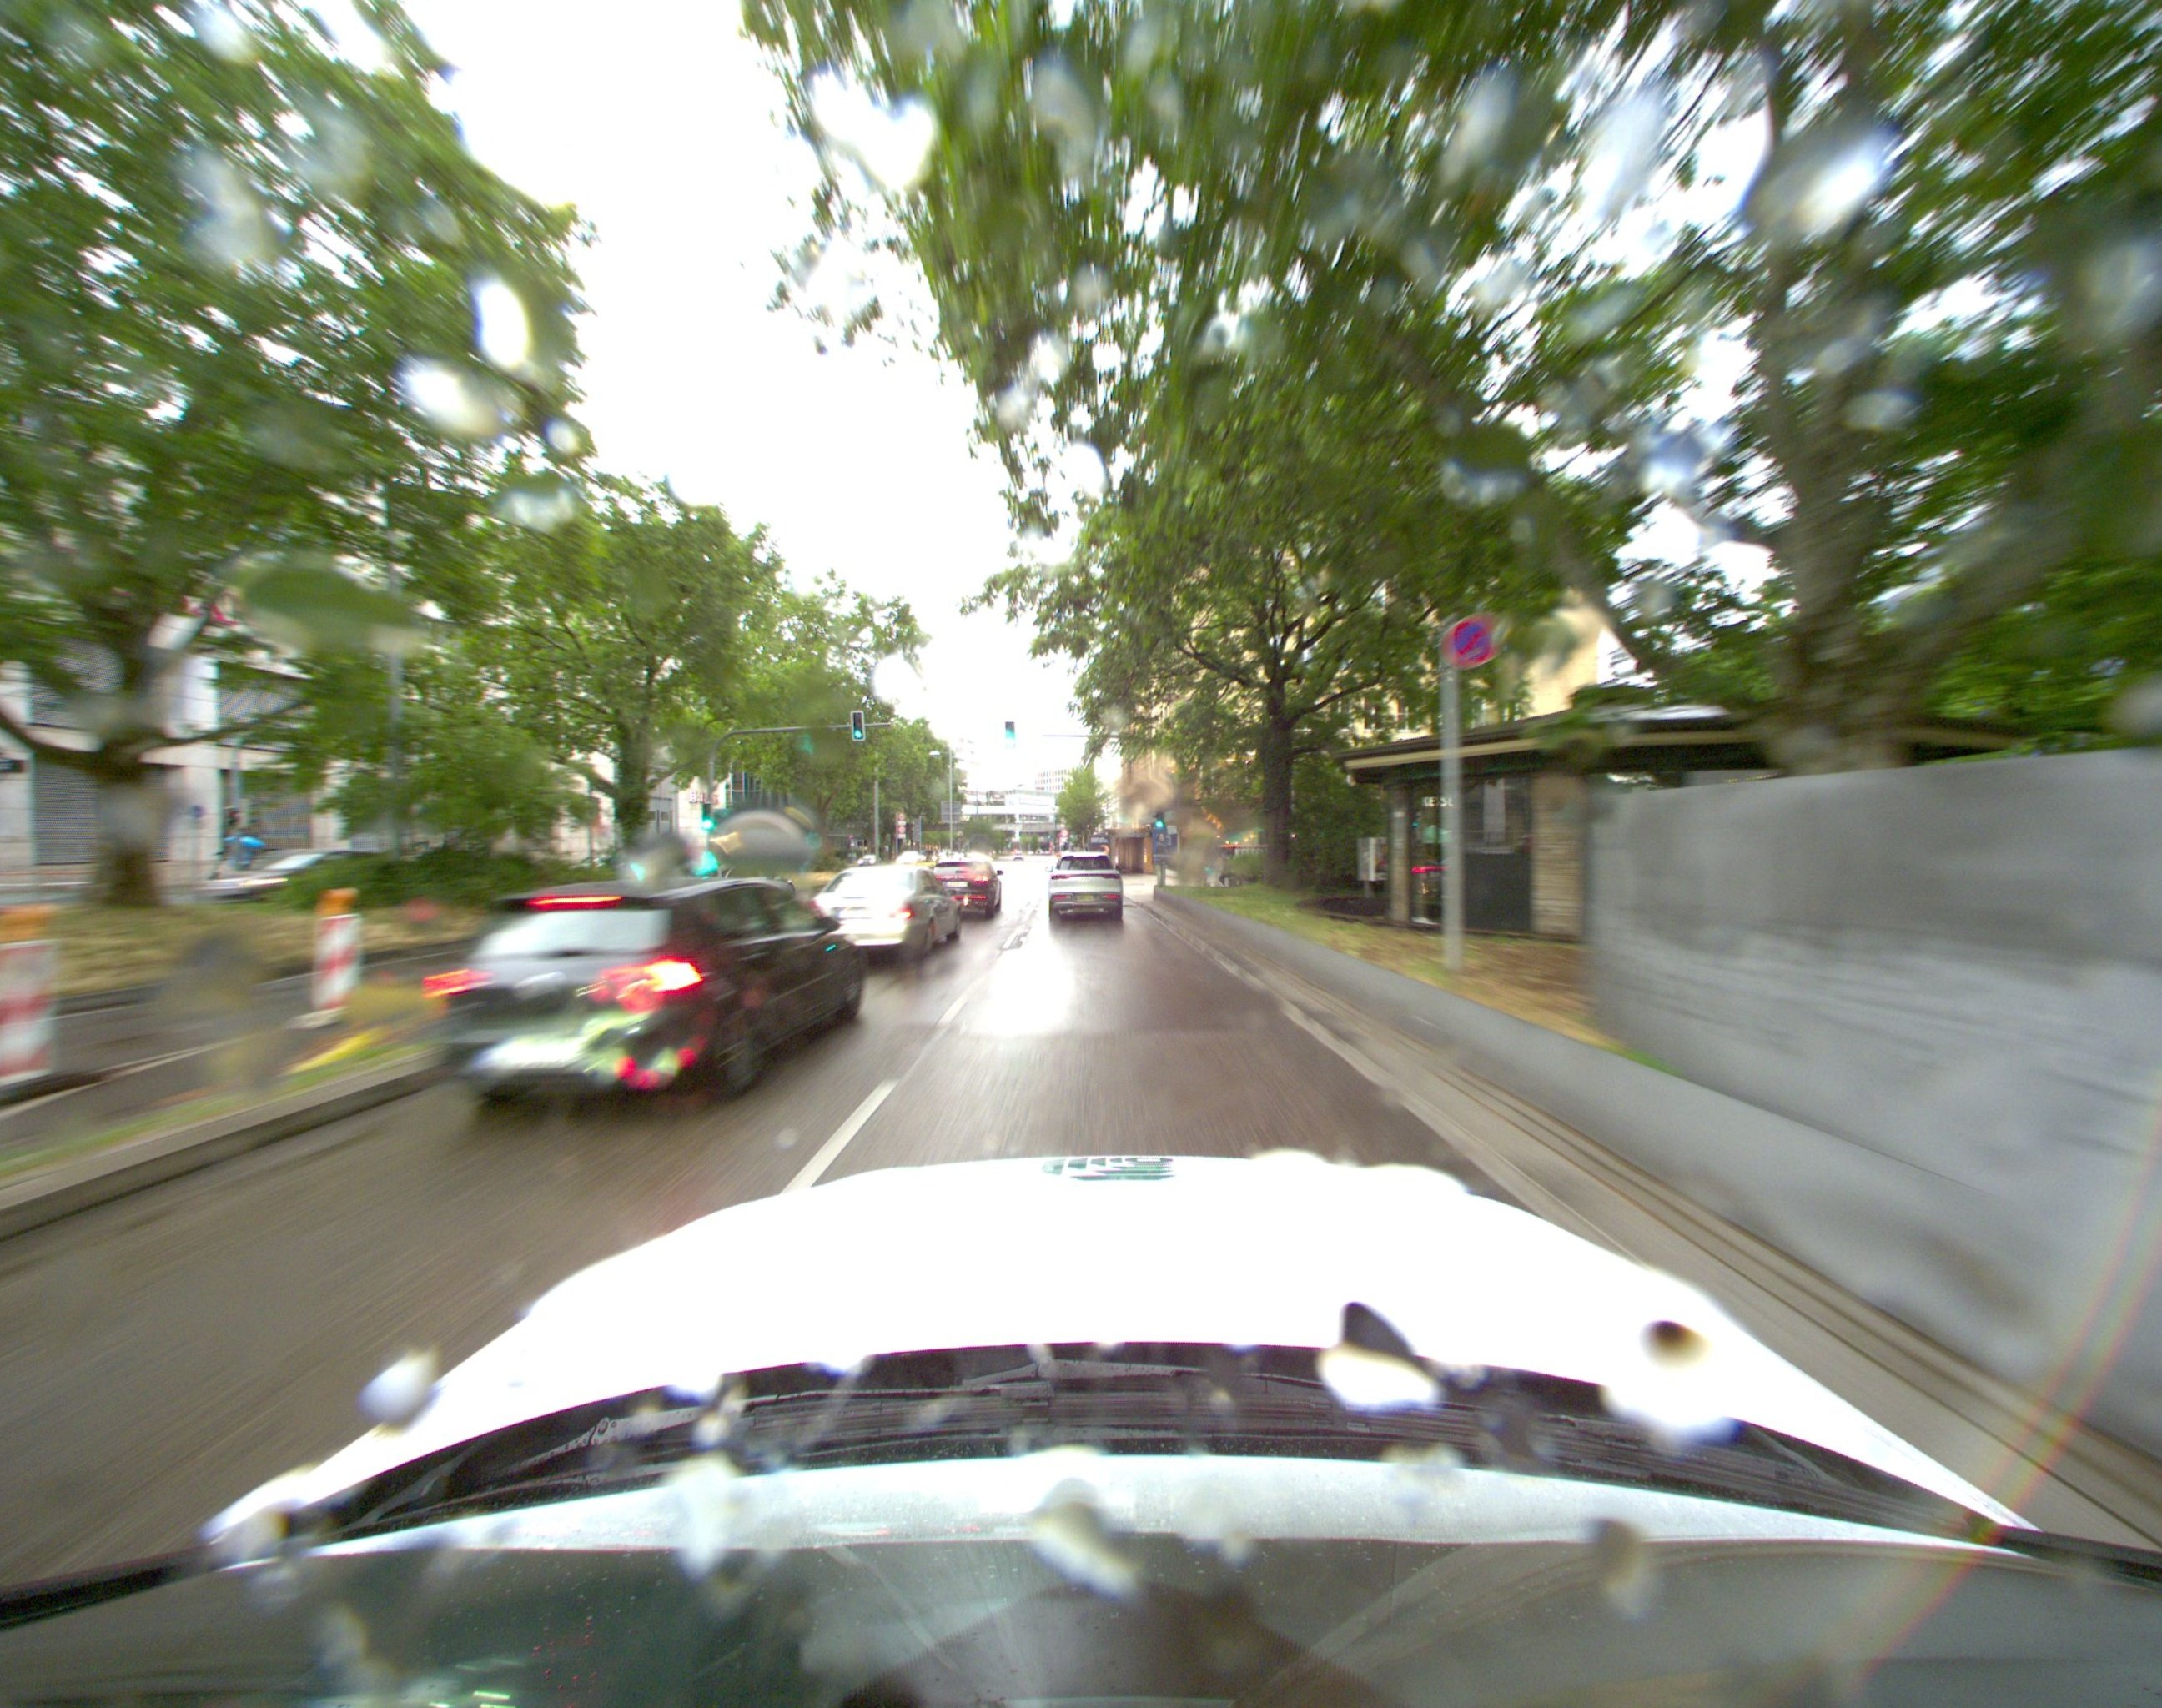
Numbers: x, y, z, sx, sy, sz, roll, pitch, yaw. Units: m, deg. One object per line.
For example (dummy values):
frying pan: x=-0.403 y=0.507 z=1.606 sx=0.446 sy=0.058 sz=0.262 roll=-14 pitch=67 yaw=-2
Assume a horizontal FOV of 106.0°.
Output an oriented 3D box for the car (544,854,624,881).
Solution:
car: x=-27.012 y=0.727 z=44.425 sx=1.541 sy=1.403 sz=4.008 roll=0 pitch=0 yaw=7

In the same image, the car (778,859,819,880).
car: x=-22.657 y=1.244 z=65.407 sx=1.790 sy=1.510 sz=4.496 roll=-2 pitch=0 yaw=-2

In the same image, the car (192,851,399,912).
car: x=-22.193 y=0.725 z=23.284 sx=1.542 sy=1.590 sz=4.298 roll=0 pitch=0 yaw=4

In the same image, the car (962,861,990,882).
car: x=-8.087 y=1.293 z=63.060 sx=1.687 sy=1.463 sz=4.342 roll=-2 pitch=0 yaw=-2

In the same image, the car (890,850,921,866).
car: x=-17.311 y=0.394 z=80.477 sx=2.154 sy=1.463 sz=4.342 roll=-2 pitch=0 yaw=-2

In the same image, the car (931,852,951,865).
car: x=-17.124 y=0.504 z=100.015 sx=1.790 sy=1.510 sz=4.496 roll=-2 pitch=0 yaw=-2

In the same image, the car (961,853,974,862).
car: x=-19.532 y=0.542 z=140.346 sx=1.790 sy=1.510 sz=4.342 roll=-2 pitch=0 yaw=-2

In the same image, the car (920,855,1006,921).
car: x=-2.977 y=0.797 z=21.312 sx=1.687 sy=1.463 sz=4.342 roll=-2 pitch=0 yaw=-2

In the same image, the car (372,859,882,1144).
car: x=-3.000 y=0.824 z=6.543 sx=1.685 sy=1.463 sz=4.130 roll=-2 pitch=0 yaw=1

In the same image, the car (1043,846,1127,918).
car: x=0.133 y=0.661 z=21.144 sx=1.940 sy=1.666 sz=4.346 roll=1 pitch=0 yaw=1

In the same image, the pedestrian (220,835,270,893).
pedestrian: x=-29.817 y=0.355 z=29.075 sx=0.783 sy=2.013 sz=0.946 roll=1 pitch=1 yaw=-3

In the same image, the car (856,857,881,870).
car: x=-23.566 y=1.006 z=90.355 sx=1.844 sy=1.366 sz=4.236 roll=0 pitch=0 yaw=-2

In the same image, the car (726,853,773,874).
car: x=-26.170 y=0.726 z=64.478 sx=1.681 sy=1.642 sz=4.245 roll=0 pitch=0 yaw=5

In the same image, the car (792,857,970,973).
car: x=-2.986 y=0.828 z=13.144 sx=1.685 sy=1.463 sz=4.346 roll=-2 pitch=0 yaw=1

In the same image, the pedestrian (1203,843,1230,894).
pedestrian: x=4.792 y=0.516 z=28.791 sx=0.855 sy=1.780 sz=0.718 roll=0 pitch=-1 yaw=3

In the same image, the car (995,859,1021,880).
car: x=-5.611 y=1.167 z=63.164 sx=1.687 sy=1.463 sz=4.342 roll=-2 pitch=0 yaw=-2

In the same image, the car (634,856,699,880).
car: x=-26.066 y=0.865 z=51.380 sx=1.681 sy=1.403 sz=4.245 roll=0 pitch=0 yaw=5

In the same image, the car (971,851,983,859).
car: x=-20.730 y=0.156 z=162.224 sx=1.790 sy=1.510 sz=4.342 roll=-2 pitch=0 yaw=-2

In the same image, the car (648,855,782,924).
car: x=-9.656 y=0.863 z=21.864 sx=1.693 sy=1.619 sz=4.001 roll=-1 pitch=0 yaw=1

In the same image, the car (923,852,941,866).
car: x=-21.053 y=0.663 z=115.206 sx=1.790 sy=1.909 sz=4.496 roll=-2 pitch=0 yaw=-2

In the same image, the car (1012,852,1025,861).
car: x=-10.824 y=0.371 z=141.873 sx=1.973 sy=1.463 sz=4.341 roll=-2 pitch=0 yaw=-2

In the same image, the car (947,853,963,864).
car: x=-18.296 y=0.626 z=118.645 sx=1.790 sy=1.510 sz=4.496 roll=-2 pitch=0 yaw=-2

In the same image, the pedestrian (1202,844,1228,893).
pedestrian: x=4.842 y=0.521 z=29.545 sx=0.855 sy=1.780 sz=0.718 roll=0 pitch=-1 yaw=3
